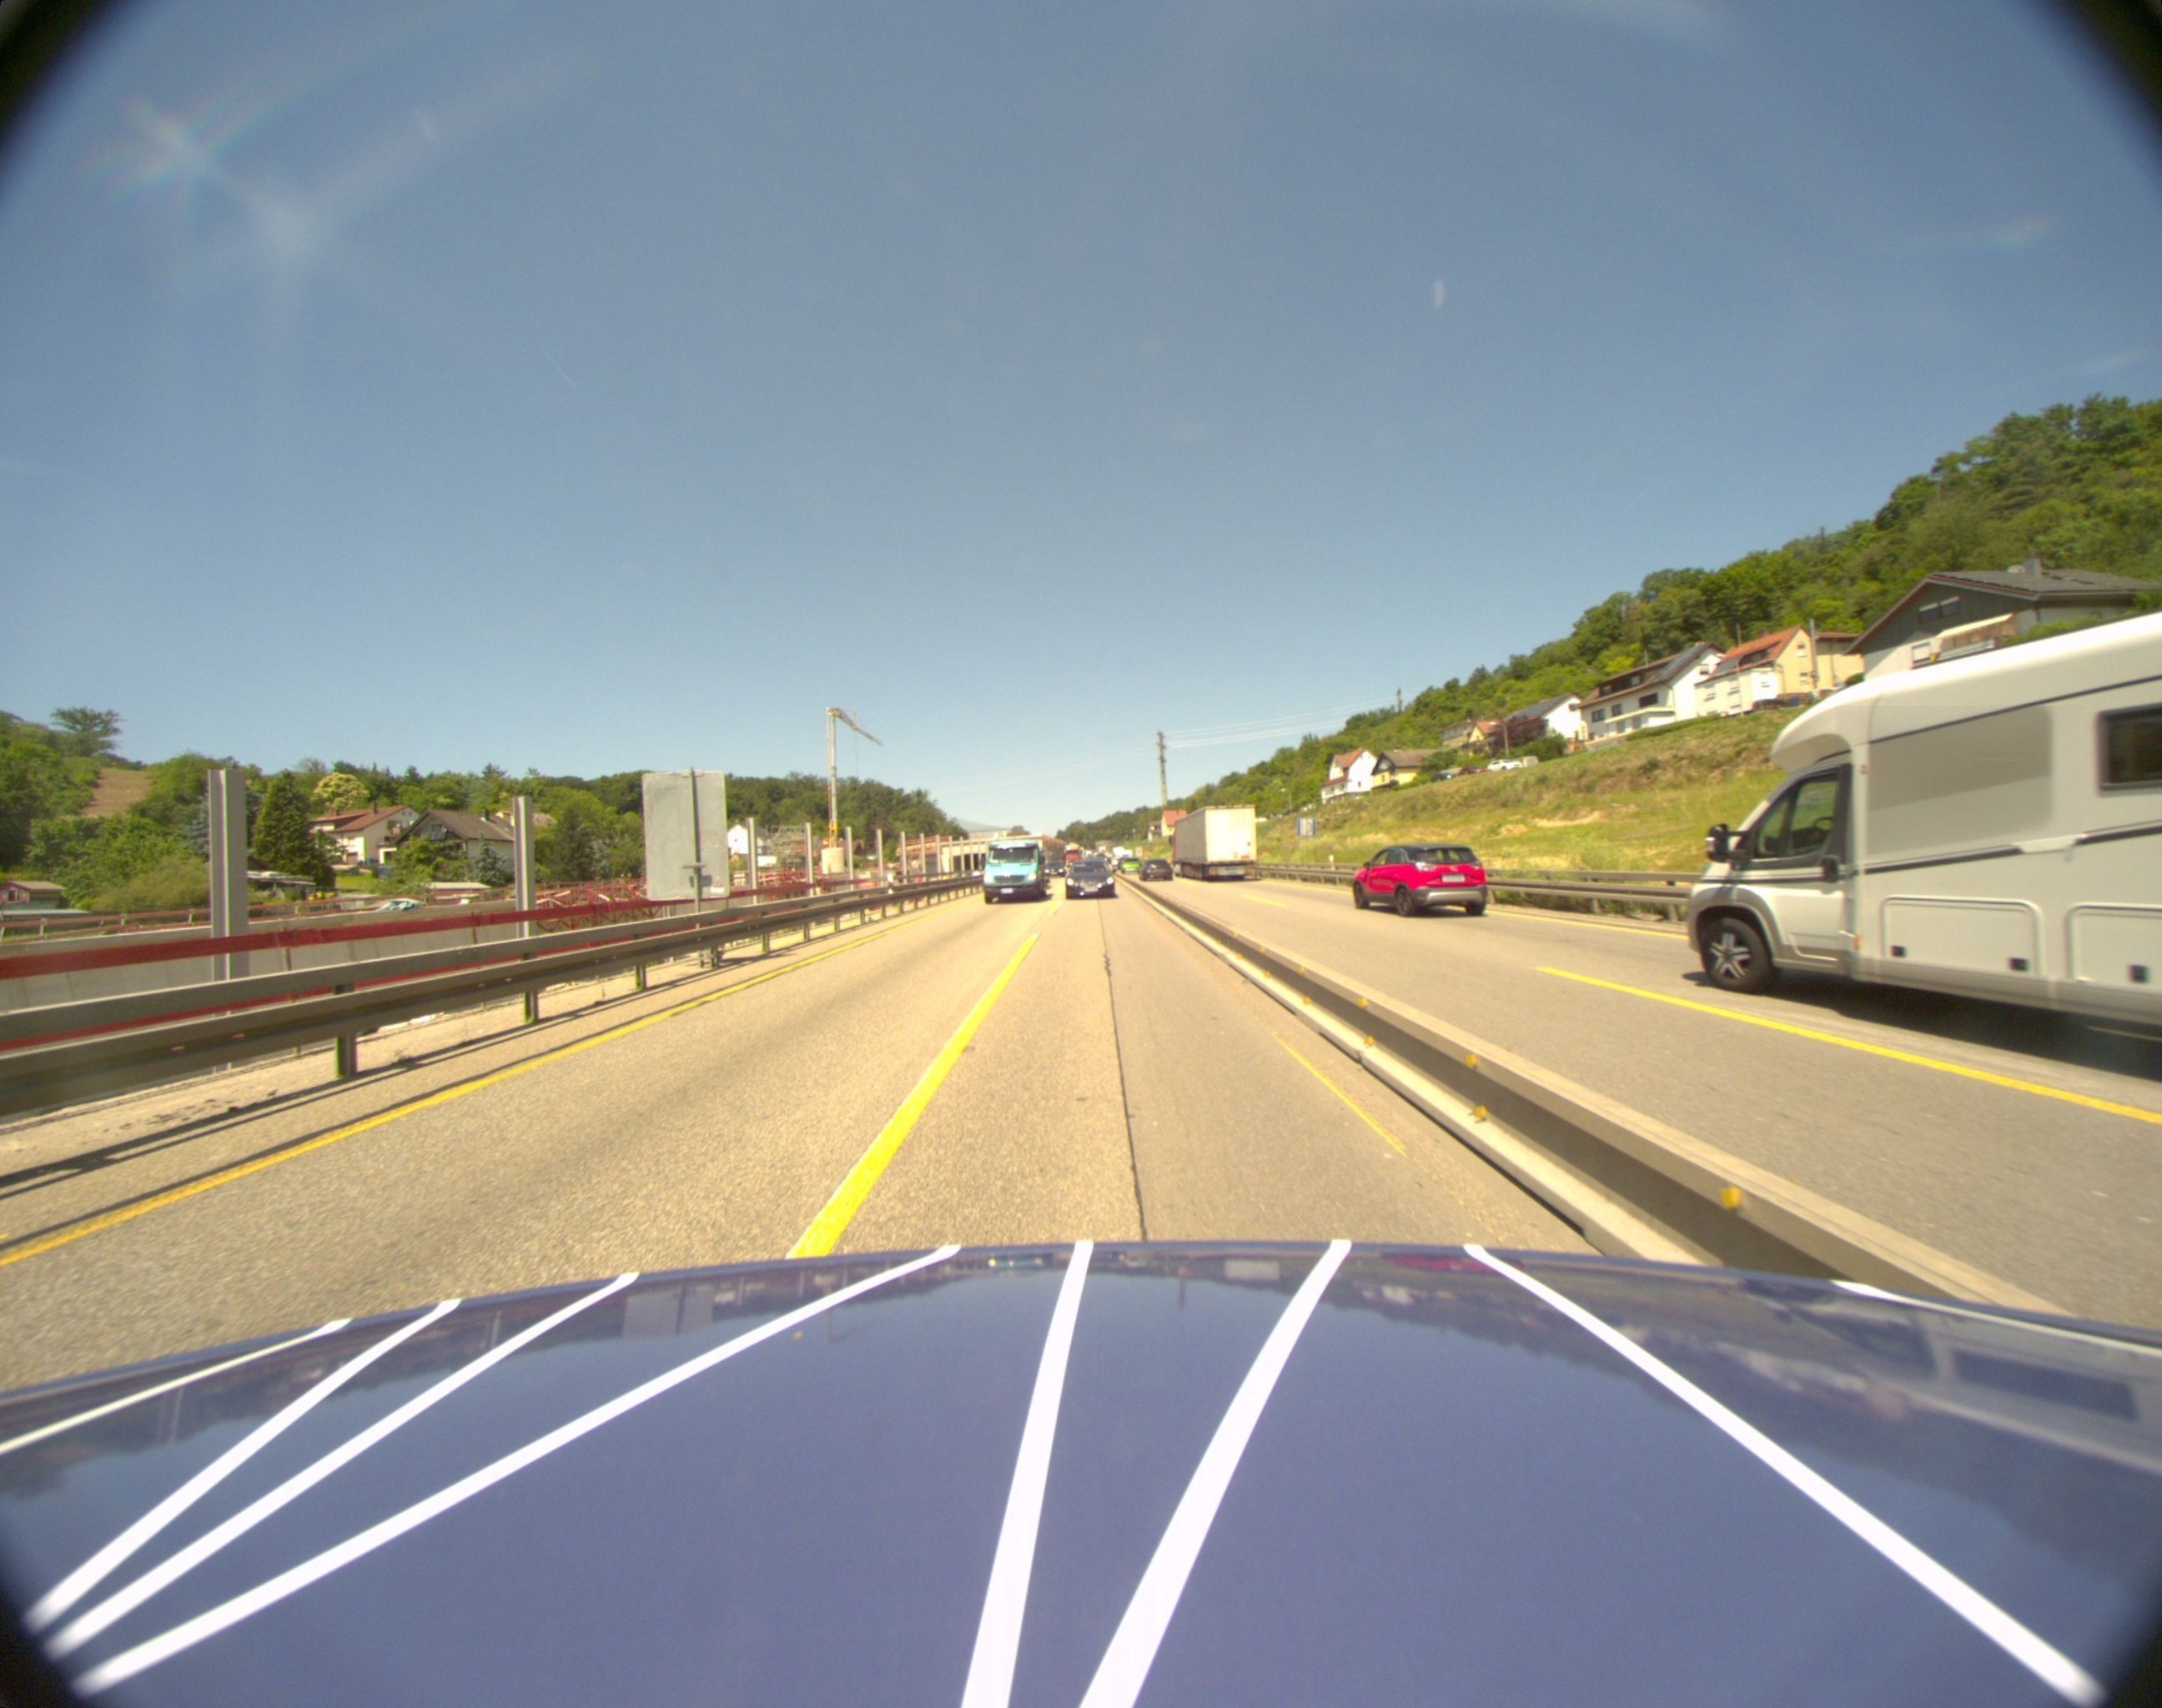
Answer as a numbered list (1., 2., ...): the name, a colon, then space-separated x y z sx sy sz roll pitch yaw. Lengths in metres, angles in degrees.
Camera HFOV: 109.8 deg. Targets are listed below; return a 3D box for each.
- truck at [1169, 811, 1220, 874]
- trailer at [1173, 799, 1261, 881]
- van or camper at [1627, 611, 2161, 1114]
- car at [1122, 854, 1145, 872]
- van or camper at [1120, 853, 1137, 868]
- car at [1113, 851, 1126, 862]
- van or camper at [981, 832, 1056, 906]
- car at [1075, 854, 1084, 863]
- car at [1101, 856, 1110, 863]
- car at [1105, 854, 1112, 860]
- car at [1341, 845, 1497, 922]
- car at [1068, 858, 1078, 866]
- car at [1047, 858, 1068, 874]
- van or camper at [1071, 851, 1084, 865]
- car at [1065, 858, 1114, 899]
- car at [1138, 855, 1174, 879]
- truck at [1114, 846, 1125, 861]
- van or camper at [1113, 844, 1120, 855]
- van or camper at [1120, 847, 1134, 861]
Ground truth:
1. truck: 7.921 -0.786 53.459 2.828 4.100 4.598 -2 0 0
2. trailer: 7.840 -0.733 45.950 2.864 4.100 13.437 -2 0 1
3. van or camper: 7.097 0.014 4.479 2.340 2.761 7.516 -2 0 0
4. car: 4.682 0.798 68.649 1.758 1.499 4.000 -4 0 1
5. van or camper: 5.630 0.721 90.360 1.832 1.658 3.888 -2 0 1
6. car: 5.659 0.376 112.596 1.677 1.468 4.540 0 1 1
7. van or camper: -2.287 0.503 29.923 2.097 2.458 7.671 -2 0 1
8. car: -0.304 0.824 153.609 1.744 1.679 3.640 -2 0 2
9. car: 5.034 1.129 155.718 1.660 1.420 3.176 -5 0 1
10. car: 7.096 0.726 198.145 1.601 1.499 3.162 -4 0 1
11. car: 7.686 0.608 17.768 1.721 1.543 4.264 -2 0 0
12. car: -1.391 1.400 132.300 1.679 1.346 3.486 -4 0 1
13. car: -2.039 1.058 66.791 1.611 1.324 3.496 -2 0 1
14. van or camper: -0.620 0.836 147.863 2.321 2.513 4.527 -4 0 1
15. car: 0.341 0.894 29.044 1.746 1.420 4.000 -1 0 1
16. car: 4.621 0.764 47.179 1.772 1.355 4.411 -2 0 0
17. truck: 9.368 -0.171 186.641 2.385 3.412 9.306 -2 0 1
18. van or camper: 9.265 -1.169 196.826 1.566 2.744 5.181 -4 0 1
19. van or camper: 9.201 -0.029 151.380 2.382 2.634 6.052 -2 0 1
